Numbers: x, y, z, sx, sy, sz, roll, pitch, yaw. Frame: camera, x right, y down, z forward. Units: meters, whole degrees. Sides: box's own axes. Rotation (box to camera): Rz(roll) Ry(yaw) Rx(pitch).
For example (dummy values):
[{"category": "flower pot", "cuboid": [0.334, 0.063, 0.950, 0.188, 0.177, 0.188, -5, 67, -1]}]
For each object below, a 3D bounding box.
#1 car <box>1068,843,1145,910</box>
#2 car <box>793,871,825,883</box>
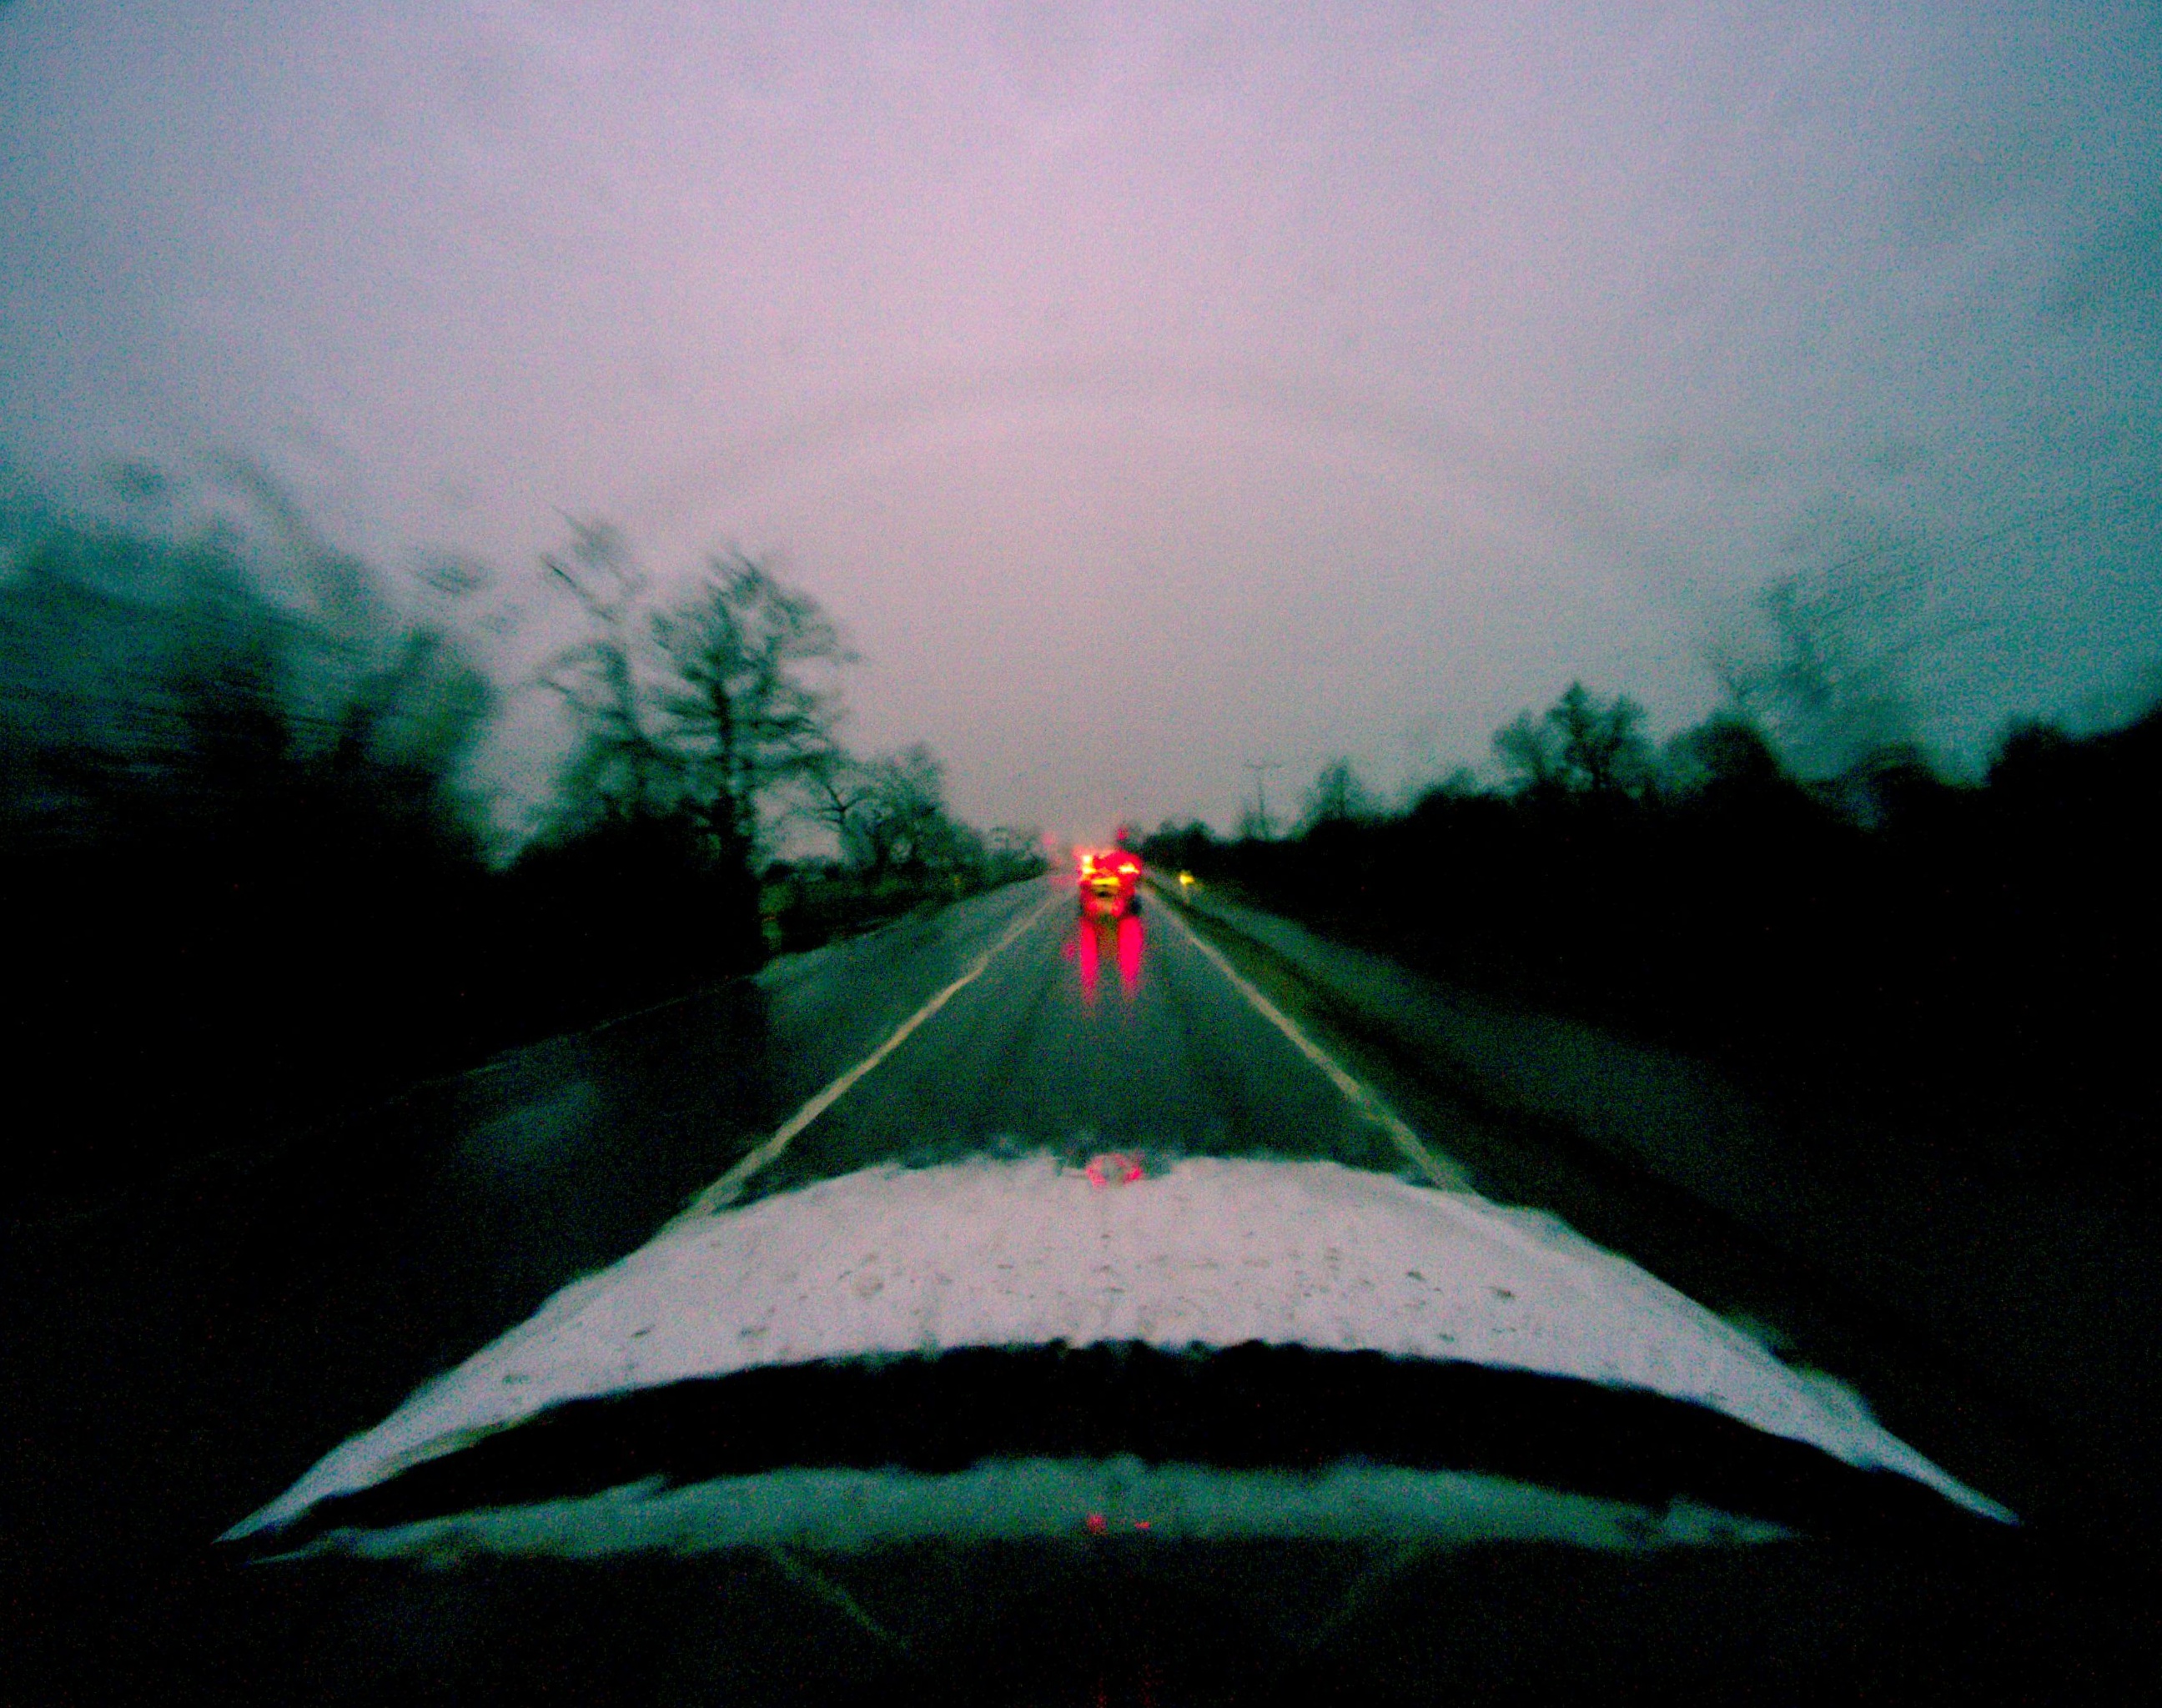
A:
[{"category": "car", "cuboid": [0.774, 0.634, 25.135, 2.112, 1.820, 4.982, -1, 0, 2]}, {"category": "car", "cuboid": [-32.146, 2.768, 96.235, 3.444, 1.342, 1.592, 0, -1, -13]}]
